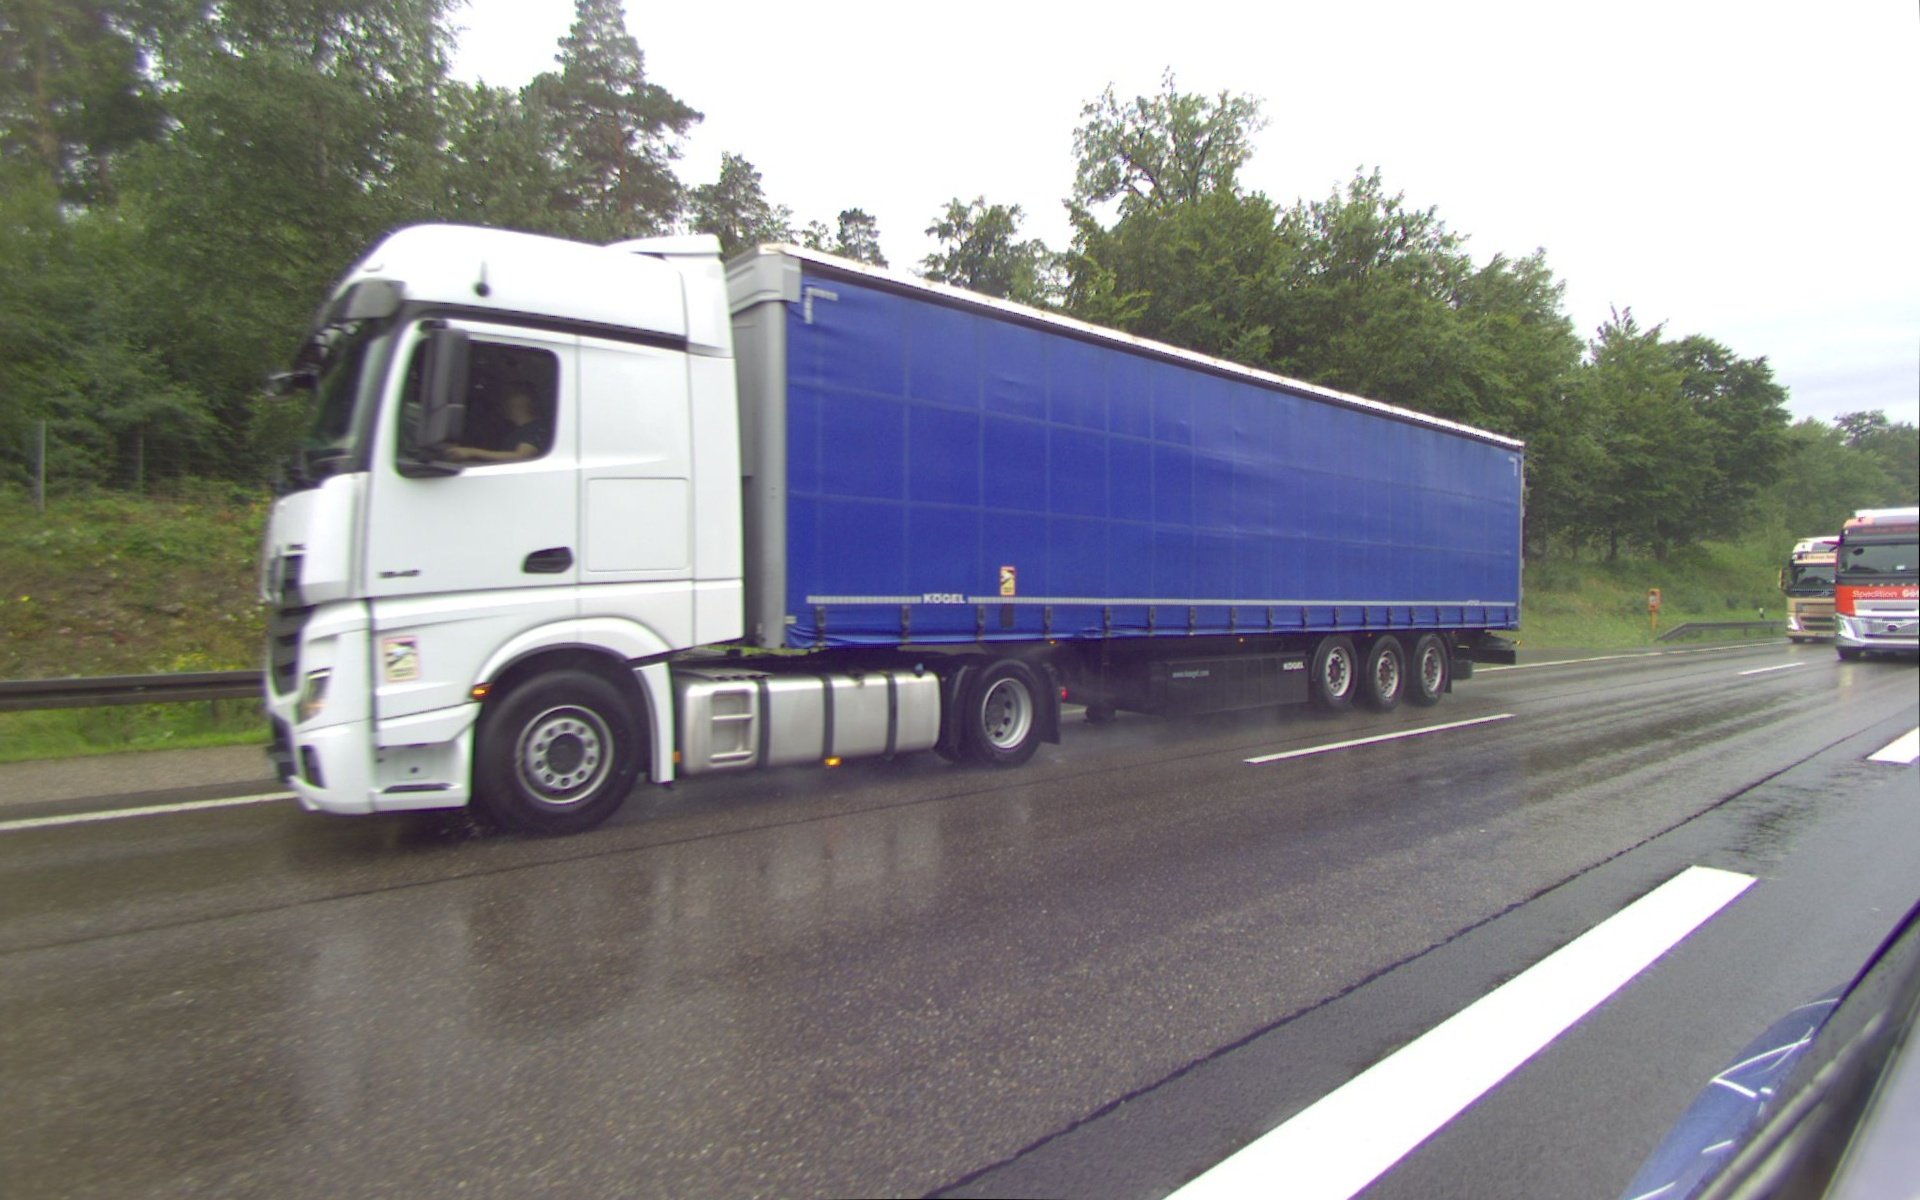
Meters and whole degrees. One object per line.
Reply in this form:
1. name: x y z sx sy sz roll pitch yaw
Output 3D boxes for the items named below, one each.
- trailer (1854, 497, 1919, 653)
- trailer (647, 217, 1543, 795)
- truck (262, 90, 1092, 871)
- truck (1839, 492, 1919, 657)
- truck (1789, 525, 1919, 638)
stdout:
1. trailer: 30.379 -0.675 30.549 14.316 4.007 2.608 0 0 -38
2. trailer: 3.147 -0.696 12.445 13.471 4.064 2.558 0 0 -40
3. truck: -1.930 -0.629 8.172 5.906 4.065 2.606 0 -1 -40
4. truck: 25.234 -0.629 26.414 5.500 4.007 2.607 0 0 -40
5. truck: 35.457 -0.682 39.926 9.765 4.007 2.606 0 0 -41
